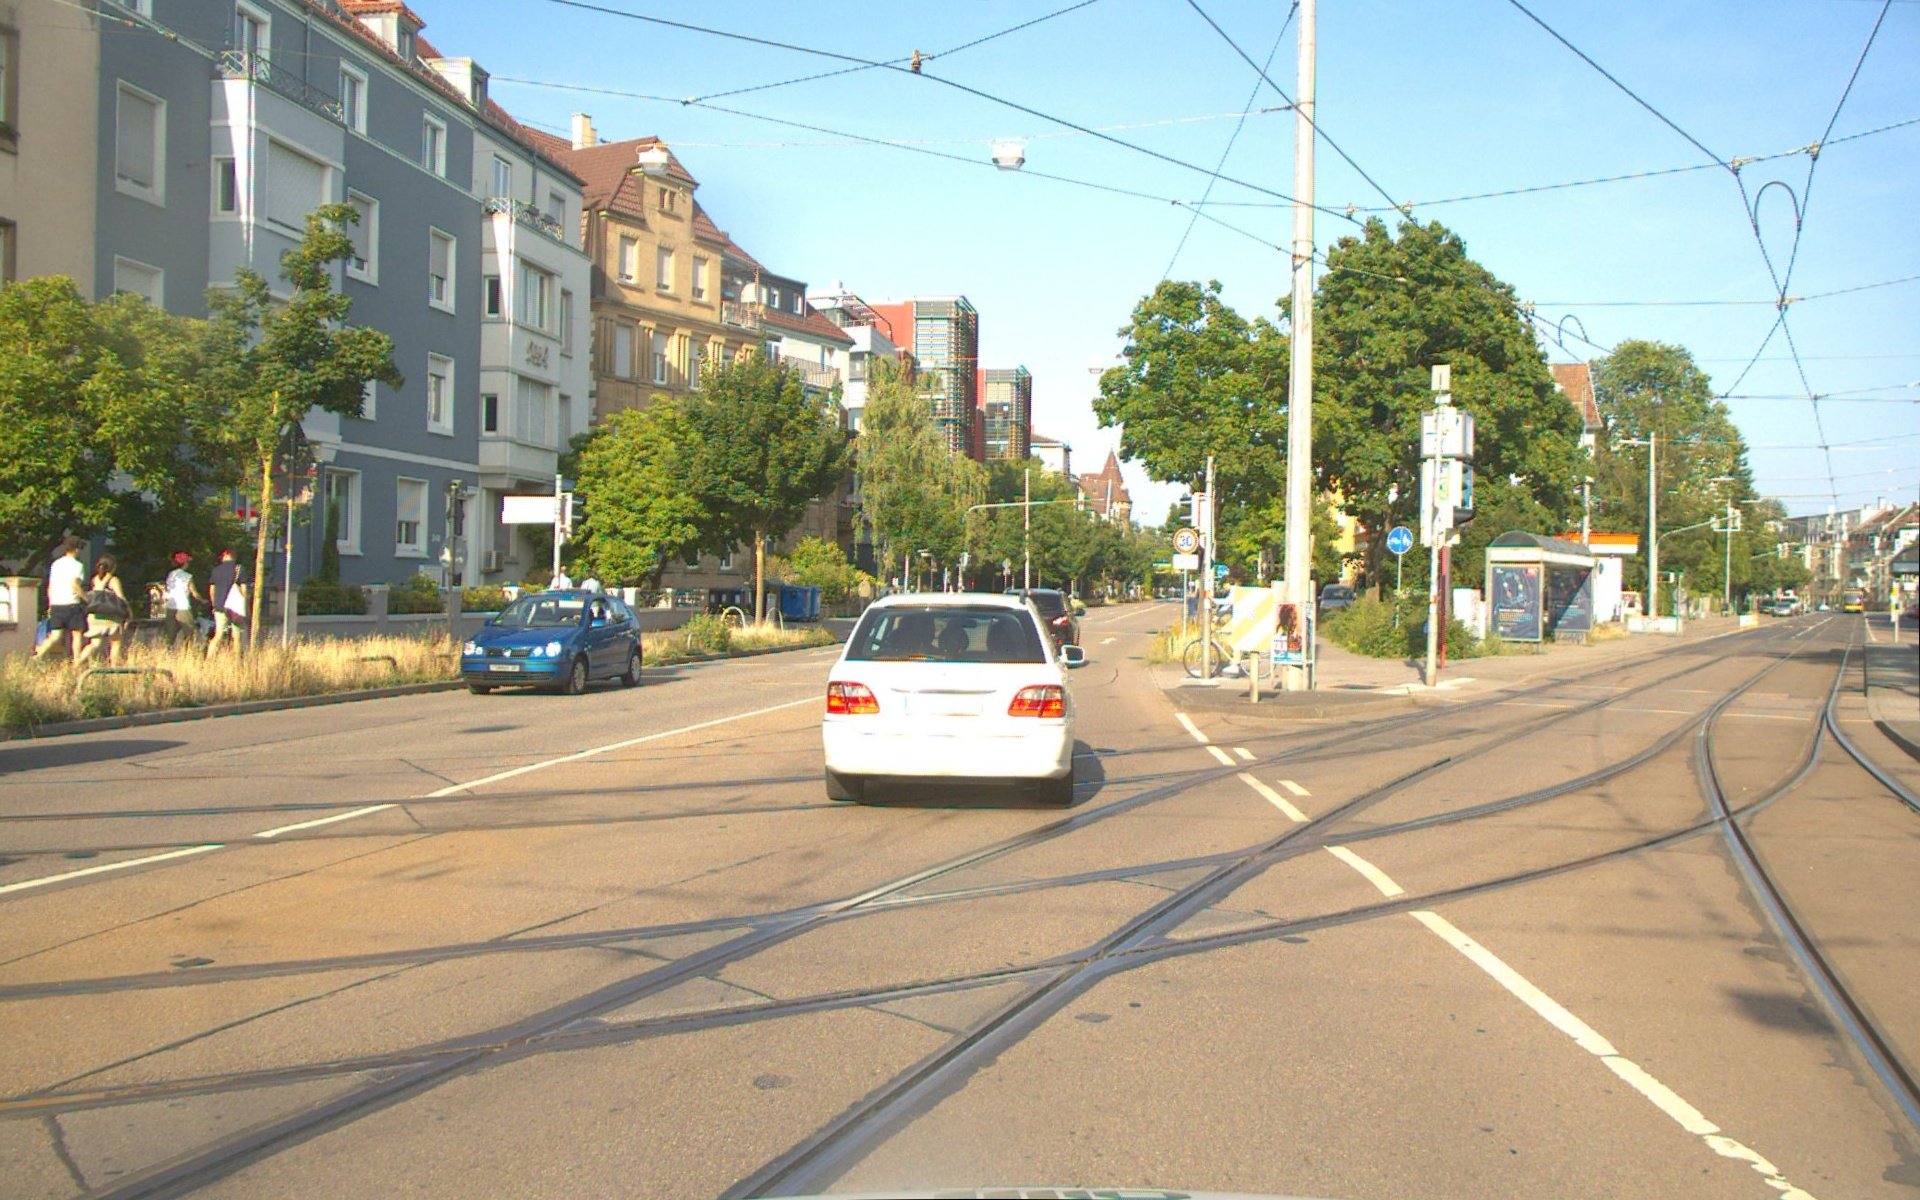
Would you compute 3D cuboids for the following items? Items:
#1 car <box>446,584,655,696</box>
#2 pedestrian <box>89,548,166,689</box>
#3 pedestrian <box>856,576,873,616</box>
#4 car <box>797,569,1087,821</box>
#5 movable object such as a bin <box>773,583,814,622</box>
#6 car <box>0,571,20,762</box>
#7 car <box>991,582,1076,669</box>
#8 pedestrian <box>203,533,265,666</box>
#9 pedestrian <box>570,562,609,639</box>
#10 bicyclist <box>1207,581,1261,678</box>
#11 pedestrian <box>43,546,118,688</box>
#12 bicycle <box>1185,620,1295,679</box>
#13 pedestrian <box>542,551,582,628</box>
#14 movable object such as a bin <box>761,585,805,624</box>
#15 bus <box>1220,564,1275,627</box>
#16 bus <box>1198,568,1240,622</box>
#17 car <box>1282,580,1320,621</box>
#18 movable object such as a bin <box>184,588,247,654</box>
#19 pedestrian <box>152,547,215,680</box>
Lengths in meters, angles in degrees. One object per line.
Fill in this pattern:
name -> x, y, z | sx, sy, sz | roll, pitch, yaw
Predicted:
car -> -5.919, 0.518, 24.391 | 1.653, 1.466, 4.003 | 1, 1, 7
pedestrian -> -11.383, 0.243, 22.635 | 0.660, 1.880, 0.650 | 1, 0, 11
pedestrian -> -4.203, -0.182, 73.057 | 0.625, 1.781, 0.608 | 1, 0, 6
car -> 0.022, 0.592, 12.531 | 1.797, 1.527, 3.817 | 3, 1, 4
movable object such as a bin -> -6.353, 0.078, 63.079 | 1.503, 1.446, 1.084 | 1, 0, -4
car -> -8.369, 0.483, 10.845 | 1.653, 1.445, 4.003 | 1, 0, 9
car -> 1.559, 0.489, 34.586 | 1.607, 1.628, 3.817 | 3, 1, 3
pedestrian -> -10.595, -0.011, 24.151 | 0.572, 1.914, 0.627 | 1, 0, 9
pedestrian -> -8.701, -0.002, 38.871 | 0.625, 1.781, 0.912 | 1, 0, 6
bicyclist -> 4.904, 0.520, 29.646 | 0.880, 1.728, 0.733 | 0, 0, 3
pedestrian -> -12.054, 0.228, 22.672 | 0.644, 1.914, 0.627 | 1, 0, 7
bicycle -> 5.007, 0.884, 29.646 | 1.873, 1.011, 0.727 | -1, 0, 3
pedestrian -> -9.379, -0.256, 38.992 | 0.625, 1.781, 0.912 | 1, 0, 6
movable object such as a bin -> -6.614, 0.163, 61.937 | 1.571, 1.446, 1.084 | 1, 0, -4
bus -> 11.965, -0.160, 69.103 | 1.760, 2.455, 4.002 | 3, 0, 4
bus -> 13.265, -0.263, 84.810 | 1.760, 2.599, 4.002 | 3, 0, 5
car -> 16.691, 0.004, 81.103 | 1.708, 1.906, 4.004 | 1, 0, 10
movable object such as a bin -> -11.250, 0.307, 24.995 | 0.570, 0.963, 0.663 | 1, 0, 13
pedestrian -> -11.389, 0.192, 24.266 | 0.572, 1.914, 0.627 | 1, 0, 7
